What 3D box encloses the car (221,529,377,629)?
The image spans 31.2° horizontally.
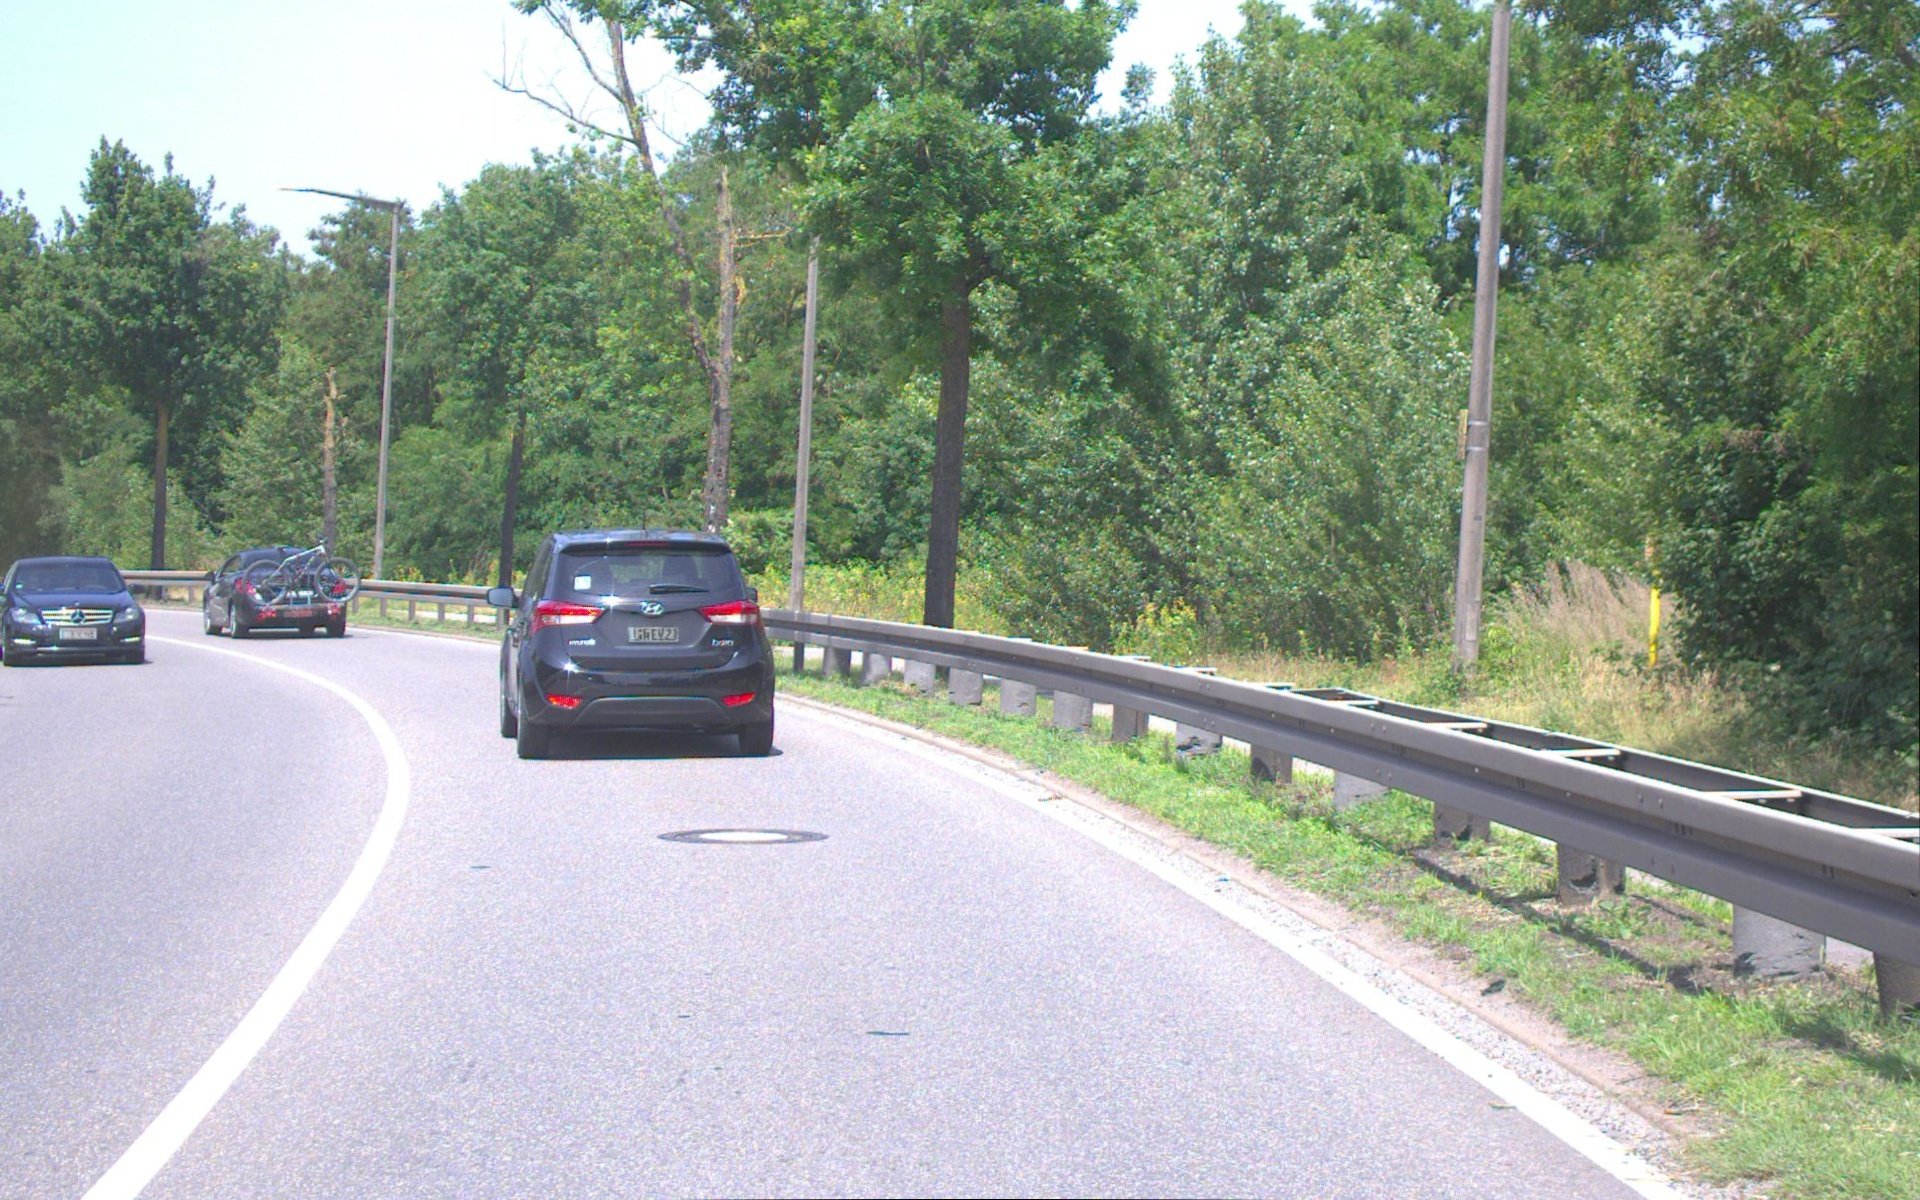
[{"bbox_3d":[-10.425,-0.356,54.067,2.011,1.424,3.778,0,2,-17],"label":"car"}]

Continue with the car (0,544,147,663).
[{"bbox_3d":[-11.706,0.007,45.124,1.675,1.438,4.131,-1,1,-18],"label":"car"}]

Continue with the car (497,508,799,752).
[{"bbox_3d":[-2.356,0.152,25.079,1.921,1.568,3.893,0,2,-9],"label":"car"}]

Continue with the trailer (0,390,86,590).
[{"bbox_3d":[-23.821,-2.639,80.368,3.569,4.368,11.442,-1,3,-30],"label":"trailer"}]
